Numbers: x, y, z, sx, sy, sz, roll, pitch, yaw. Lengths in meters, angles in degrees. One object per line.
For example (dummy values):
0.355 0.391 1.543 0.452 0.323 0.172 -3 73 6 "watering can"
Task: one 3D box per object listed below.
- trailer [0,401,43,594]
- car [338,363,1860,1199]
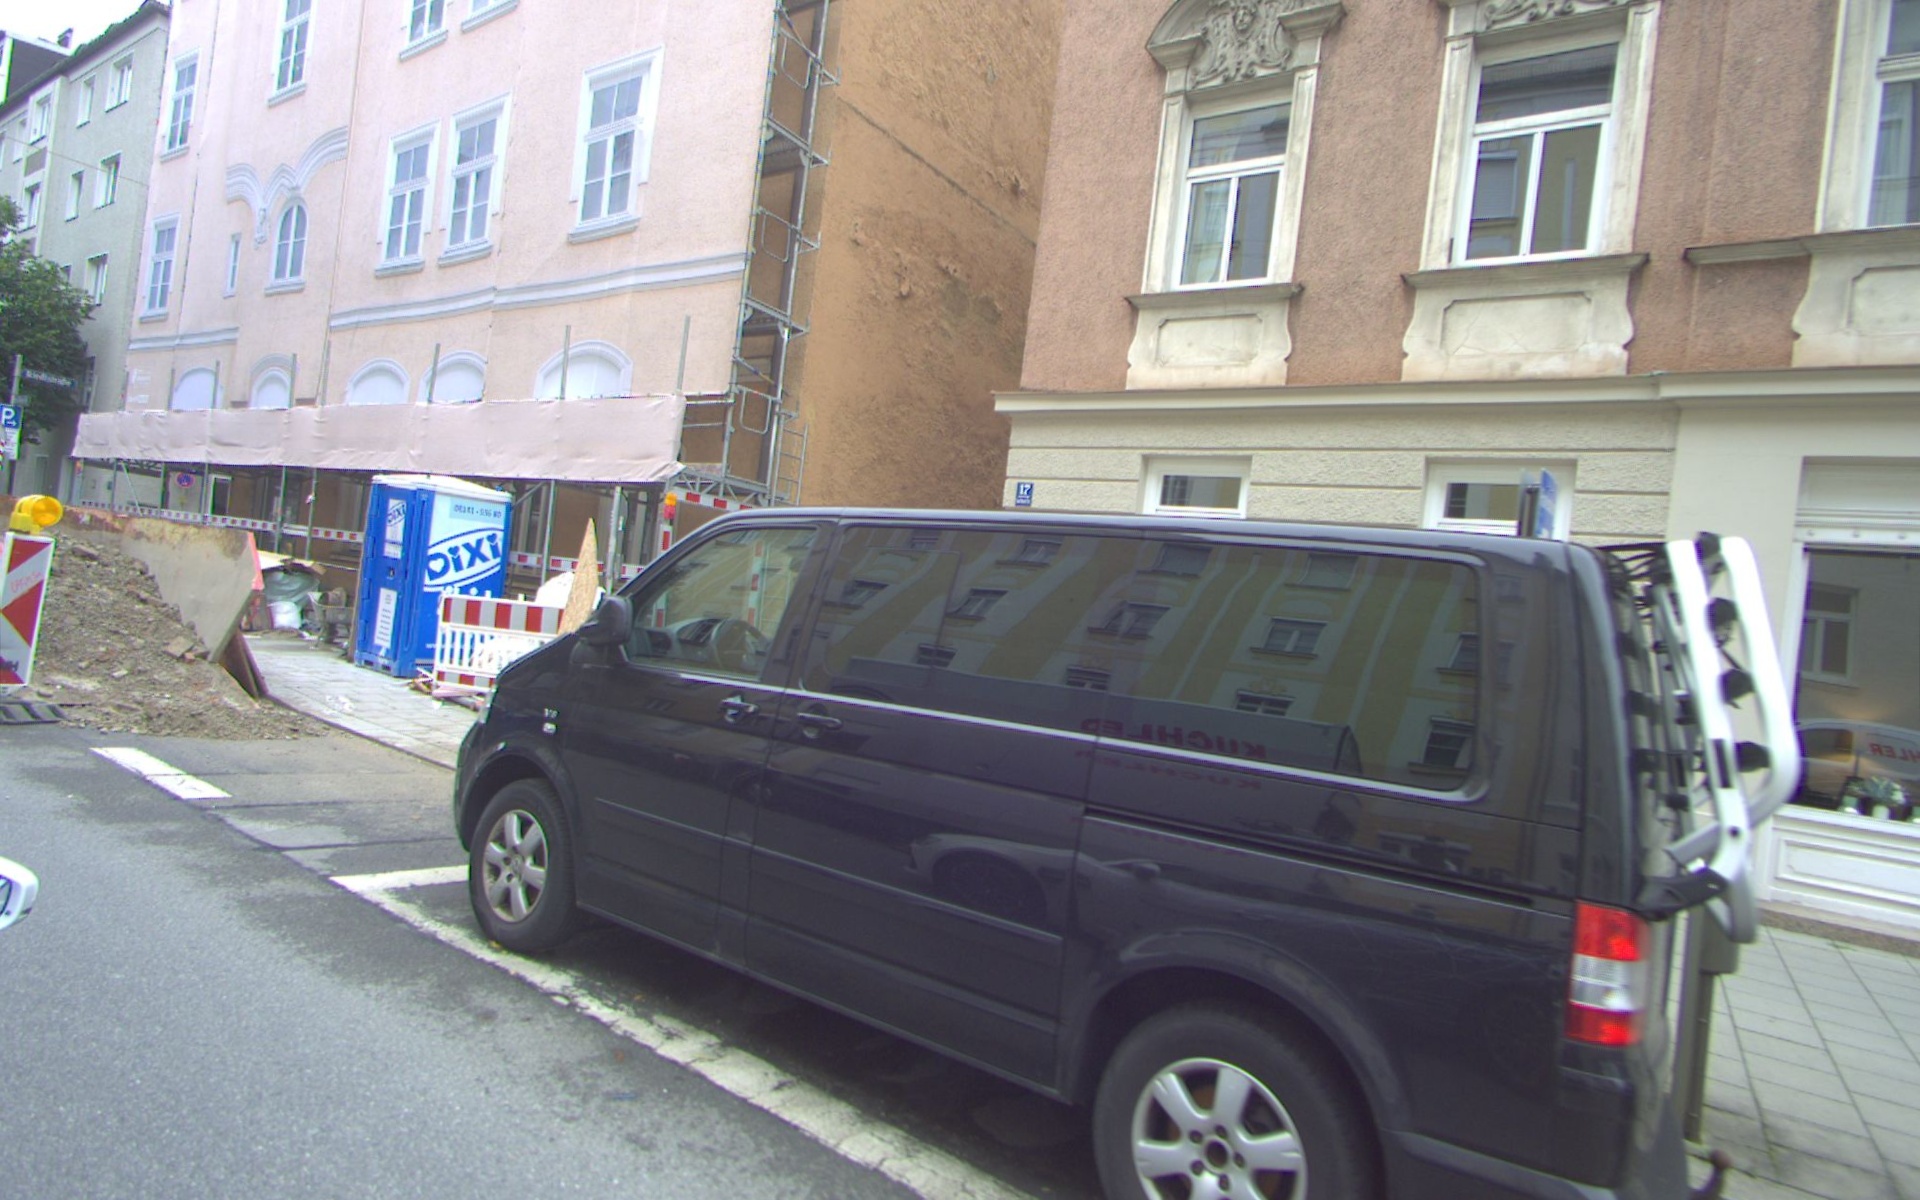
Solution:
-17.836 -1.959 16.387 6.791 2.872 2.506 6 -2 34 "trailer"
-0.064 0.551 3.982 5.061 1.942 2.085 4 -4 35 "car"
